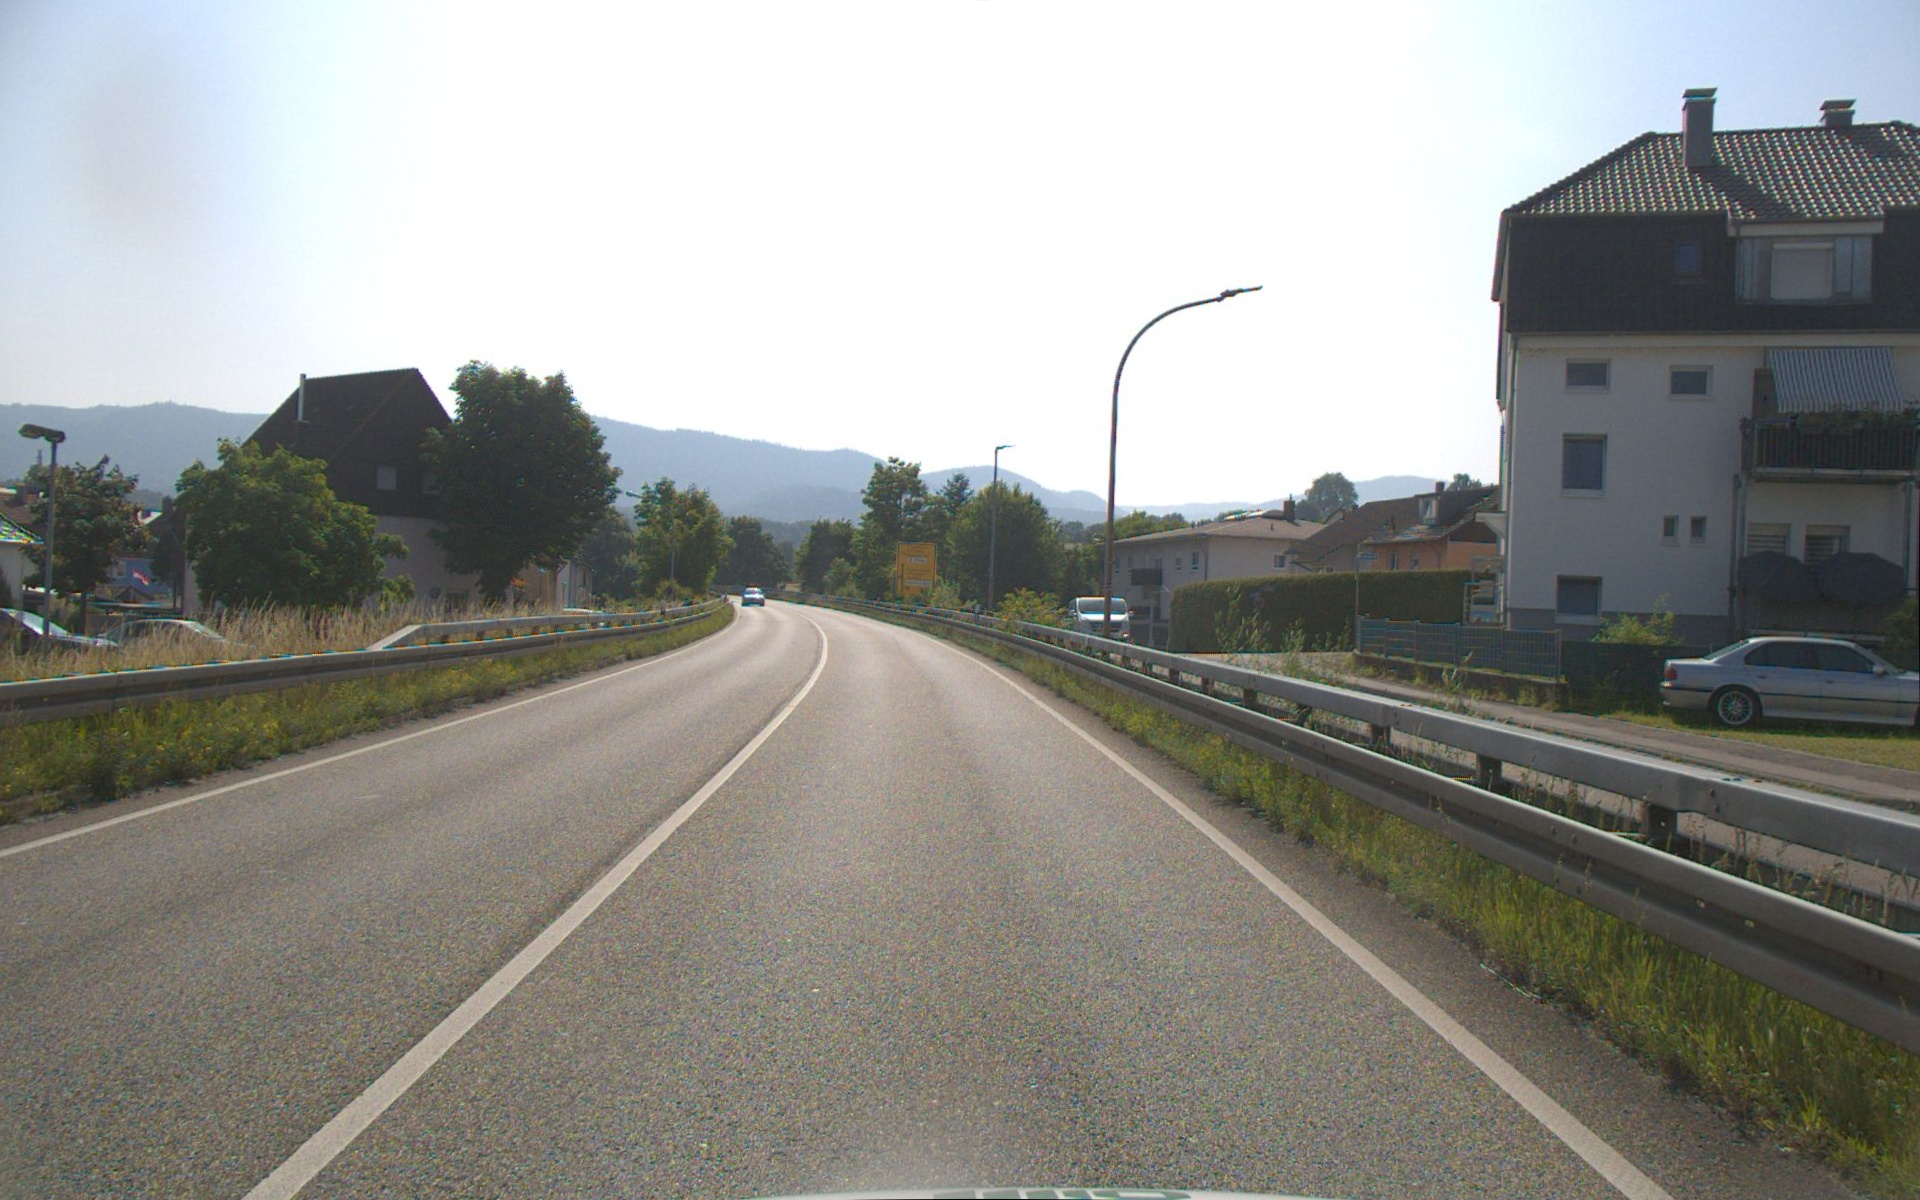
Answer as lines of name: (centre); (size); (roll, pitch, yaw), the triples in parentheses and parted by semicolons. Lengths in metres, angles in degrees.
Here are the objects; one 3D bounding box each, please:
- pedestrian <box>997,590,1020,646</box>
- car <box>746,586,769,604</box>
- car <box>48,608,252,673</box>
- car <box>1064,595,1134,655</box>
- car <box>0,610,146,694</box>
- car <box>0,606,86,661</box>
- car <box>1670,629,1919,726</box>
pedestrian: (1.834, 0.665, 62.267); (0.772, 2.049, 0.997); (1, 0, -3)
car: (-16.227, -0.393, 132.907); (1.724, 1.435, 3.985); (0, 0, -5)
car: (-20.504, 1.003, 41.994); (4.212, 1.531, 1.874); (1, 0, -1)
car: (4.884, 0.841, 58.761); (1.953, 1.979, 5.360); (1, 1, -1)
car: (-20.192, 1.102, 35.773); (4.215, 1.694, 1.872); (1, 0, -5)
car: (-32.919, 1.107, 57.490); (4.070, 1.662, 1.863); (5, -2, 9)
car: (13.765, 1.200, 26.303); (4.505, 1.372, 1.754); (0, 1, 26)
